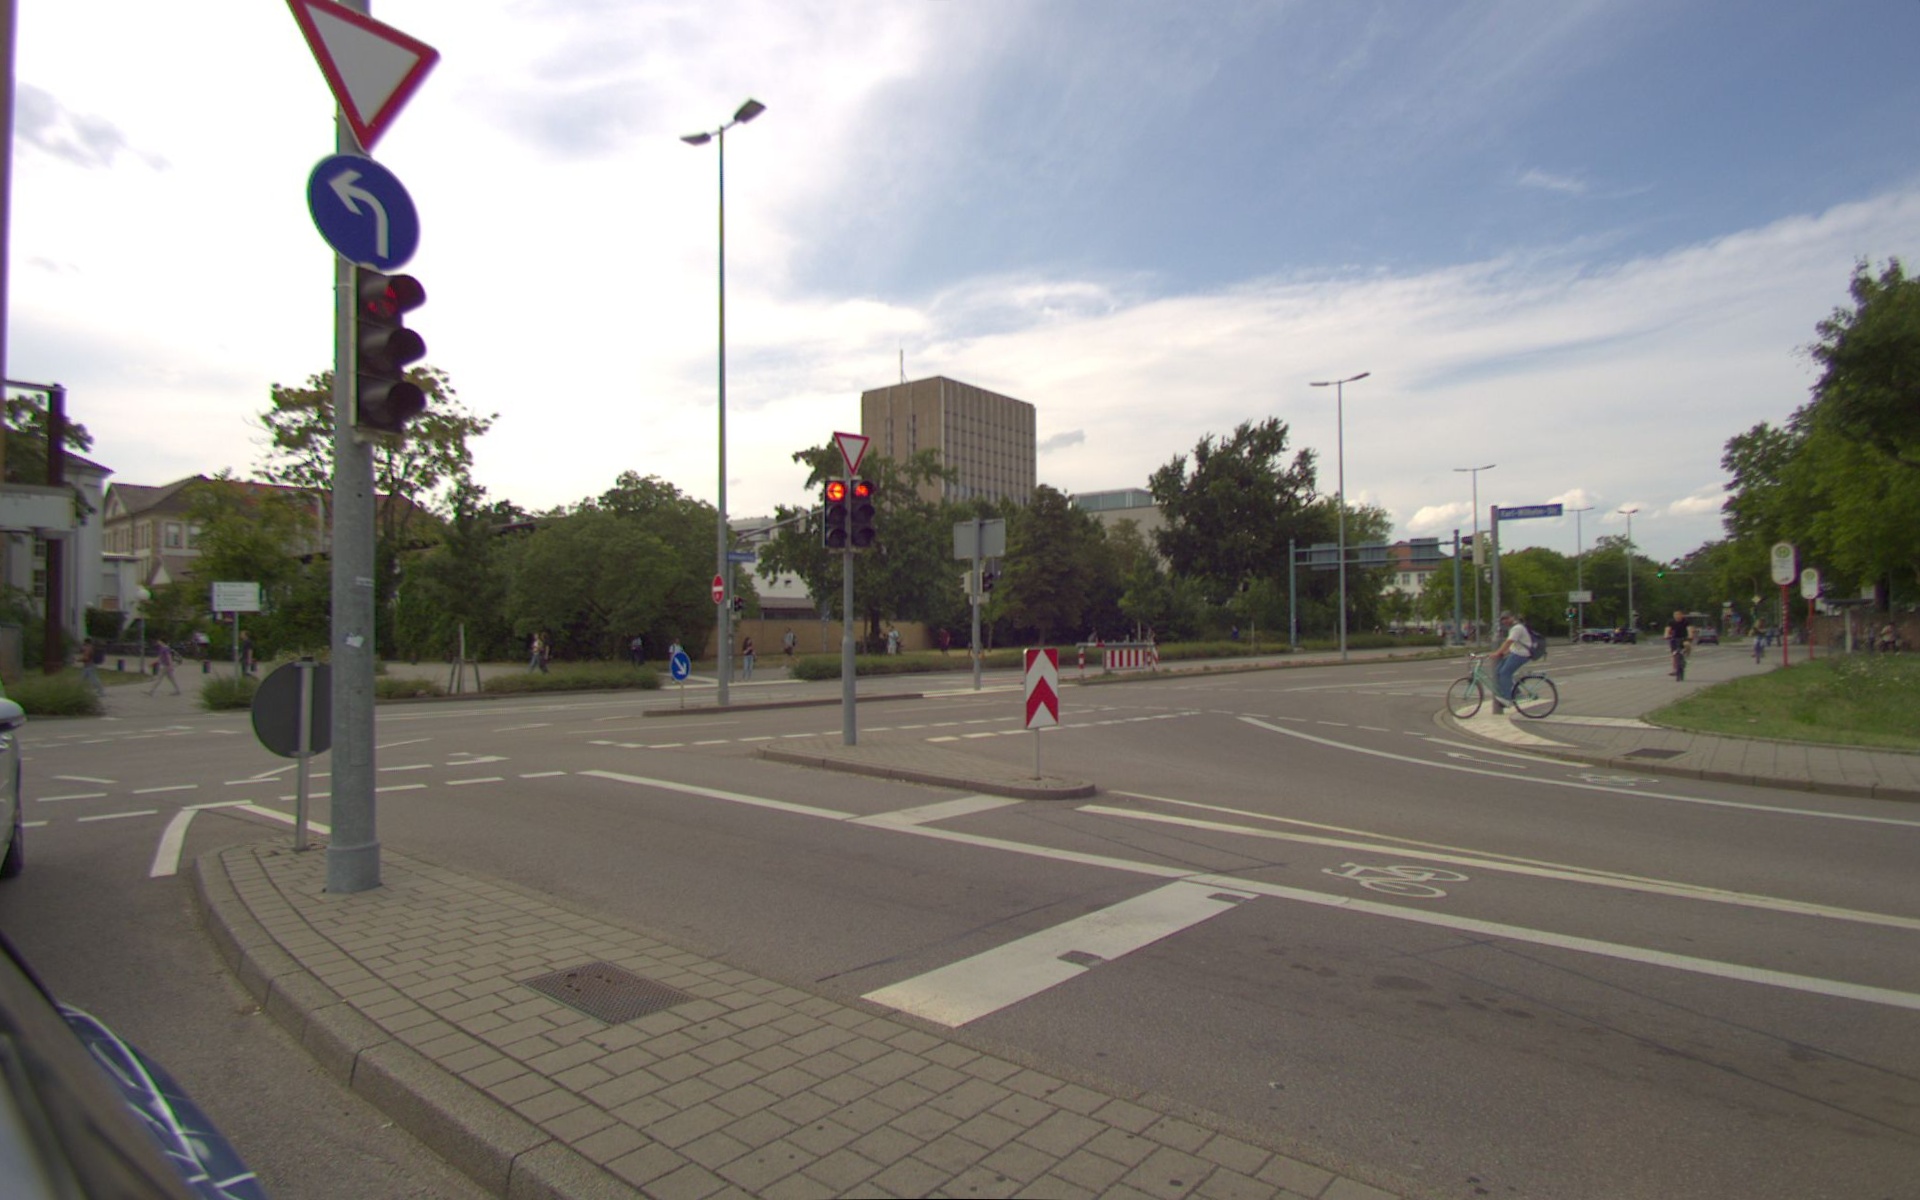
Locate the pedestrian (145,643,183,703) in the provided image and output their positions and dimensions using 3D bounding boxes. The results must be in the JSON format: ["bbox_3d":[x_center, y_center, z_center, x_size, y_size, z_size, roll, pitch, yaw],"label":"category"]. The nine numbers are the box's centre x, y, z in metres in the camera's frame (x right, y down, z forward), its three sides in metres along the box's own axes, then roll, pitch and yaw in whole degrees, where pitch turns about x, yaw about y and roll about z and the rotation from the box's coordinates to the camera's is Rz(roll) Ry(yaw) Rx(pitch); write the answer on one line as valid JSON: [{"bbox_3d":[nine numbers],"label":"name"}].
[{"bbox_3d":[-23.445,2.139,29.795,0.788,1.724,0.840,1,-4,-44],"label":"pedestrian"}]

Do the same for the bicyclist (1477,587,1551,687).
[{"bbox_3d":[9.013,0.593,16.480,0.786,1.567,0.580,-2,-1,-4],"label":"bicyclist"}]

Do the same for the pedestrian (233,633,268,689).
[{"bbox_3d":[-22.356,1.920,31.890,0.788,1.724,0.840,1,-4,-44],"label":"pedestrian"}]

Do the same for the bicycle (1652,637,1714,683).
[{"bbox_3d":[16.947,1.383,23.706,1.939,0.943,0.507,-2,-1,-34],"label":"bicycle"}]

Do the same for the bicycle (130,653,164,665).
[{"bbox_3d":[-55.238,3.998,68.780,1.816,0.699,0.653,0,-4,-40],"label":"bicycle"}]

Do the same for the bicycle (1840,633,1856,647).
[{"bbox_3d":[58.233,2.637,66.342,0.432,0.894,1.559,-6,-5,31],"label":"bicycle"}]

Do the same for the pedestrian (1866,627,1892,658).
[{"bbox_3d":[50.342,2.313,55.436,0.749,1.634,0.661,-3,-3,19],"label":"pedestrian"}]

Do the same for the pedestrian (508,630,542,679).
[{"bbox_3d":[-15.929,1.988,37.082,0.835,1.724,0.792,-4,-3,27],"label":"pedestrian"}]

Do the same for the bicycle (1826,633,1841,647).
[{"bbox_3d":[59.956,2.759,69.494,0.432,0.894,1.559,-6,-5,31],"label":"bicycle"}]

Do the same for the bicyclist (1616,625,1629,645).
[{"bbox_3d":[57.716,3.055,88.145,1.070,1.724,0.779,3,-2,-45],"label":"bicyclist"}]

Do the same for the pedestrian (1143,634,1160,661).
[{"bbox_3d":[12.570,3.136,66.457,0.714,1.724,0.685,-5,-4,42],"label":"pedestrian"}]

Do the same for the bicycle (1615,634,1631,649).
[{"bbox_3d":[57.675,3.608,88.068,0.759,1.198,2.068,0,-2,44],"label":"bicycle"}]

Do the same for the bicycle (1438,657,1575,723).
[{"bbox_3d":[8.866,1.457,16.451,1.942,0.943,0.506,-2,-1,-4],"label":"bicycle"}]

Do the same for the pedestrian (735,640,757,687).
[{"bbox_3d":[-7.915,2.339,37.423,0.579,1.724,0.482,1,-4,-42],"label":"pedestrian"}]

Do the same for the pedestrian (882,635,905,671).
[{"bbox_3d":[-3.209,2.570,48.961,0.841,1.724,0.686,-5,-4,39],"label":"pedestrian"}]

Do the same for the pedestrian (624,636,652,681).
[{"bbox_3d":[-12.695,2.288,39.908,0.714,1.724,0.789,-5,-4,39],"label":"pedestrian"}]

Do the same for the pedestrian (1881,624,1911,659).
[{"bbox_3d":[45.383,2.000,49.079,0.749,1.634,0.661,-3,-3,19],"label":"pedestrian"}]

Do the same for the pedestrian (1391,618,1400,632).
[{"bbox_3d":[53.289,3.070,123.854,0.769,1.724,0.685,-5,-4,42],"label":"pedestrian"}]

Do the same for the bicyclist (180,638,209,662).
[{"bbox_3d":[-41.847,2.740,55.353,0.828,1.287,1.013,-2,-3,-1],"label":"bicyclist"}]

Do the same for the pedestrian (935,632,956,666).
[{"bbox_3d":[-0.721,2.492,51.411,0.714,1.724,0.685,-5,-4,42],"label":"pedestrian"}]

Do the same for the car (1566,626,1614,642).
[{"bbox_3d":[63.092,3.406,101.430,1.762,1.501,4.137,1,0,-8],"label":"car"}]

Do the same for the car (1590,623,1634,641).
[{"bbox_3d":[60.086,2.910,93.316,1.769,1.501,4.120,0,0,8],"label":"car"}]

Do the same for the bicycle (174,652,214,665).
[{"bbox_3d":[-41.828,3.197,55.280,0.831,0.699,1.845,-2,-3,-1],"label":"bicycle"}]

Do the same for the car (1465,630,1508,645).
[{"bbox_3d":[58.077,4.126,111.731,1.759,1.501,4.143,1,0,-17],"label":"car"}]

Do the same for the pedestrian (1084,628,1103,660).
[{"bbox_3d":[7.498,2.485,56.958,0.683,1.724,0.735,1,-4,-44],"label":"pedestrian"}]

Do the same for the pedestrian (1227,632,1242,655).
[{"bbox_3d":[20.447,3.238,75.361,0.714,1.724,0.685,-5,-4,42],"label":"pedestrian"}]

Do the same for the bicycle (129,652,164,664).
[{"bbox_3d":[-54.105,3.876,67.311,1.816,0.699,0.653,0,-4,-40],"label":"bicycle"}]

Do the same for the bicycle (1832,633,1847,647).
[{"bbox_3d":[59.002,2.684,67.881,0.432,0.894,1.559,-6,-5,31],"label":"bicycle"}]

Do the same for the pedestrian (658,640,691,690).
[{"bbox_3d":[-10.241,2.321,36.275,0.827,1.724,0.801,0,-4,-42],"label":"pedestrian"}]

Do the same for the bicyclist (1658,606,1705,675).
[{"bbox_3d":[16.919,0.933,23.726,0.784,1.567,0.581,-2,-1,-34],"label":"bicyclist"}]

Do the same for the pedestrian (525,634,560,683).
[{"bbox_3d":[-15.132,2.119,36.693,0.835,1.724,0.792,-4,-3,27],"label":"pedestrian"}]

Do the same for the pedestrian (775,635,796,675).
[{"bbox_3d":[-7.684,2.415,44.598,0.544,1.709,0.686,0,-1,39],"label":"pedestrian"}]

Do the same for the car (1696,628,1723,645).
[{"bbox_3d":[72.788,3.532,98.292,1.700,1.492,4.355,-5,-4,41],"label":"car"}]

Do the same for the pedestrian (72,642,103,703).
[{"bbox_3d":[-25.082,2.077,29.090,0.624,1.724,0.674,1,-4,-44],"label":"pedestrian"}]

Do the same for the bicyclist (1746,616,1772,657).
[{"bbox_3d":[31.006,1.420,39.257,0.784,1.567,0.496,-2,-1,-34],"label":"bicyclist"}]

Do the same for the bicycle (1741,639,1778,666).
[{"bbox_3d":[30.987,2.021,39.216,1.939,0.943,0.507,-2,-1,-34],"label":"bicycle"}]

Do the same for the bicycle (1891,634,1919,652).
[{"bbox_3d":[52.124,2.374,55.747,0.657,0.894,1.564,-5,-4,22],"label":"bicycle"}]
